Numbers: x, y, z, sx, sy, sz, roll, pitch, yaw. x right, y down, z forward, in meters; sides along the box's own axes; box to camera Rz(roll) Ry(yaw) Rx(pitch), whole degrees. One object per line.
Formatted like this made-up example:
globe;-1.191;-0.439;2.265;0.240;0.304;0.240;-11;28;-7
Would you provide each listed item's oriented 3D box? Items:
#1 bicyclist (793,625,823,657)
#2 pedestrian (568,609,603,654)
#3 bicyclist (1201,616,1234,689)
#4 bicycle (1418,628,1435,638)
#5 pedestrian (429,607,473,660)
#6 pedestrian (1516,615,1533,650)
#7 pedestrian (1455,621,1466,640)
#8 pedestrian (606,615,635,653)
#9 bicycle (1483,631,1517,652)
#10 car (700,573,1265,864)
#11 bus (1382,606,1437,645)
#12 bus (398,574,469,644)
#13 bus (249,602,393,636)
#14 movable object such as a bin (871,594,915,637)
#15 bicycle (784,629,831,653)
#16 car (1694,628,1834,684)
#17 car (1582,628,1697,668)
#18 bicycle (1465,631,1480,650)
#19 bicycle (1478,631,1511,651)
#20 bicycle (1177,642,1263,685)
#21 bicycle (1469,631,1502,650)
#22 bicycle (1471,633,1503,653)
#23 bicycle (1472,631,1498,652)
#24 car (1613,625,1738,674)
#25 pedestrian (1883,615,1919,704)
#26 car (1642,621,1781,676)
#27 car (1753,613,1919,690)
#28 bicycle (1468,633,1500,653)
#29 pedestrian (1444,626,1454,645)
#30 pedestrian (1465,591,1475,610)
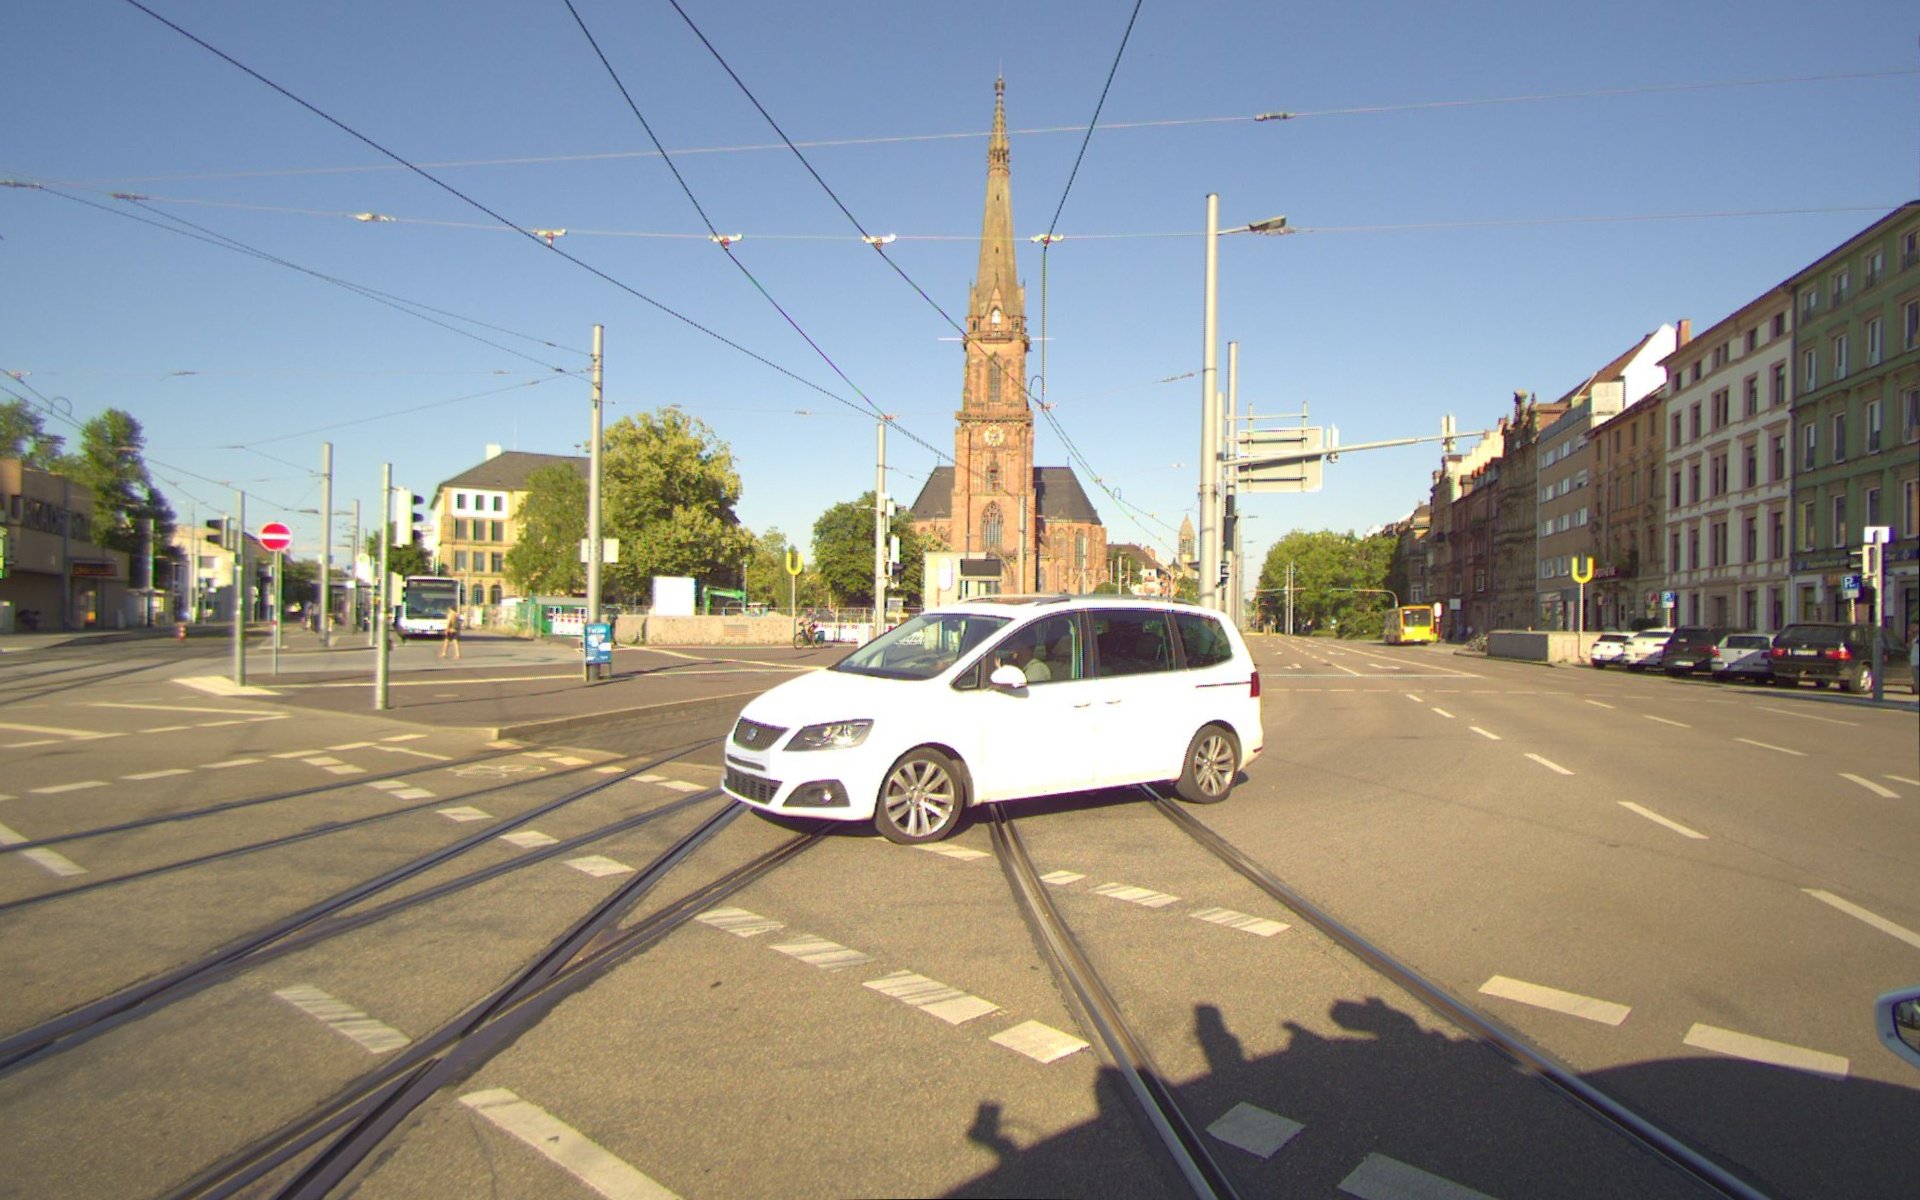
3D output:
bicyclist;-6.809;1.841;45.006;0.803;1.362;0.898;4;-1;38
pedestrian;-15.323;1.272;41.128;0.788;1.792;1.180;0;1;16
bicyclist;5.886;1.186;22.987;0.662;1.637;0.816;-1;-1;11
bicycle;58.955;4.182;126.963;1.851;1.255;0.491;0;-2;4
pedestrian;-16.803;1.095;33.176;1.036;1.709;0.728;-1;1;-1
pedestrian;33.717;1.936;59.966;0.738;2.041;0.698;0;1;17
pedestrian;52.401;3.150;105.230;0.808;1.955;1.137;0;-1;16
pedestrian;-15.688;1.551;46.427;1.049;1.709;0.719;-2;2;-45
bicycle;32.882;2.530;61.183;1.735;1.194;0.470;1;0;16
car;0.356;0.772;8.219;4.424;1.756;1.921;2;-1;-38
bus;39.603;2.245;88.922;2.669;3.223;12.547;-1;-1;16
bus;-27.959;0.358;53.002;2.807;3.237;12.559;-2;1;-30
bus;-67.378;1.959;106.165;12.433;3.237;3.245;-1;1;-10
movable object such as a bin;-4.315;0.966;65.658;2.583;2.560;5.168;-1;1;-1
bicycle;-6.814;1.841;45.005;0.803;0.954;1.994;4;-1;38
car;23.259;1.628;29.056;3.845;1.418;1.776;3;-1;-28
car;26.512;1.872;39.208;4.058;1.483;1.949;2;-1;-25
bicycle;32.344;2.549;63.379;0.460;1.162;1.771;1;0;16
bicycle;33.065;2.543;62.171;1.735;1.203;0.470;1;0;16
bicycle;5.915;1.445;22.961;1.856;0.954;0.816;-1;-2;11
bicycle;33.740;2.593;64.508;1.761;1.203;0.470;1;0;16
bicycle;33.593;2.756;64.024;1.735;1.203;0.470;1;0;16
bicycle;31.749;2.518;60.789;0.461;1.162;1.769;1;0;-7
car;25.432;1.770;35.707;4.198;1.591;1.946;2;-1;-28
pedestrian;19.311;1.193;20.272;0.684;1.751;0.753;1;-1;0
car;24.181;1.565;32.324;4.197;1.619;1.947;2;-1;-27
car;22.836;1.334;25.987;4.194;1.838;1.948;2;-1;-25
bicycle;33.877;2.782;64.992;1.735;1.203;0.470;1;0;16
pedestrian;51.410;3.748;105.573;0.808;1.955;1.137;0;-1;16
pedestrian;53.358;0.080;105.099;0.808;1.955;1.137;0;-1;16
